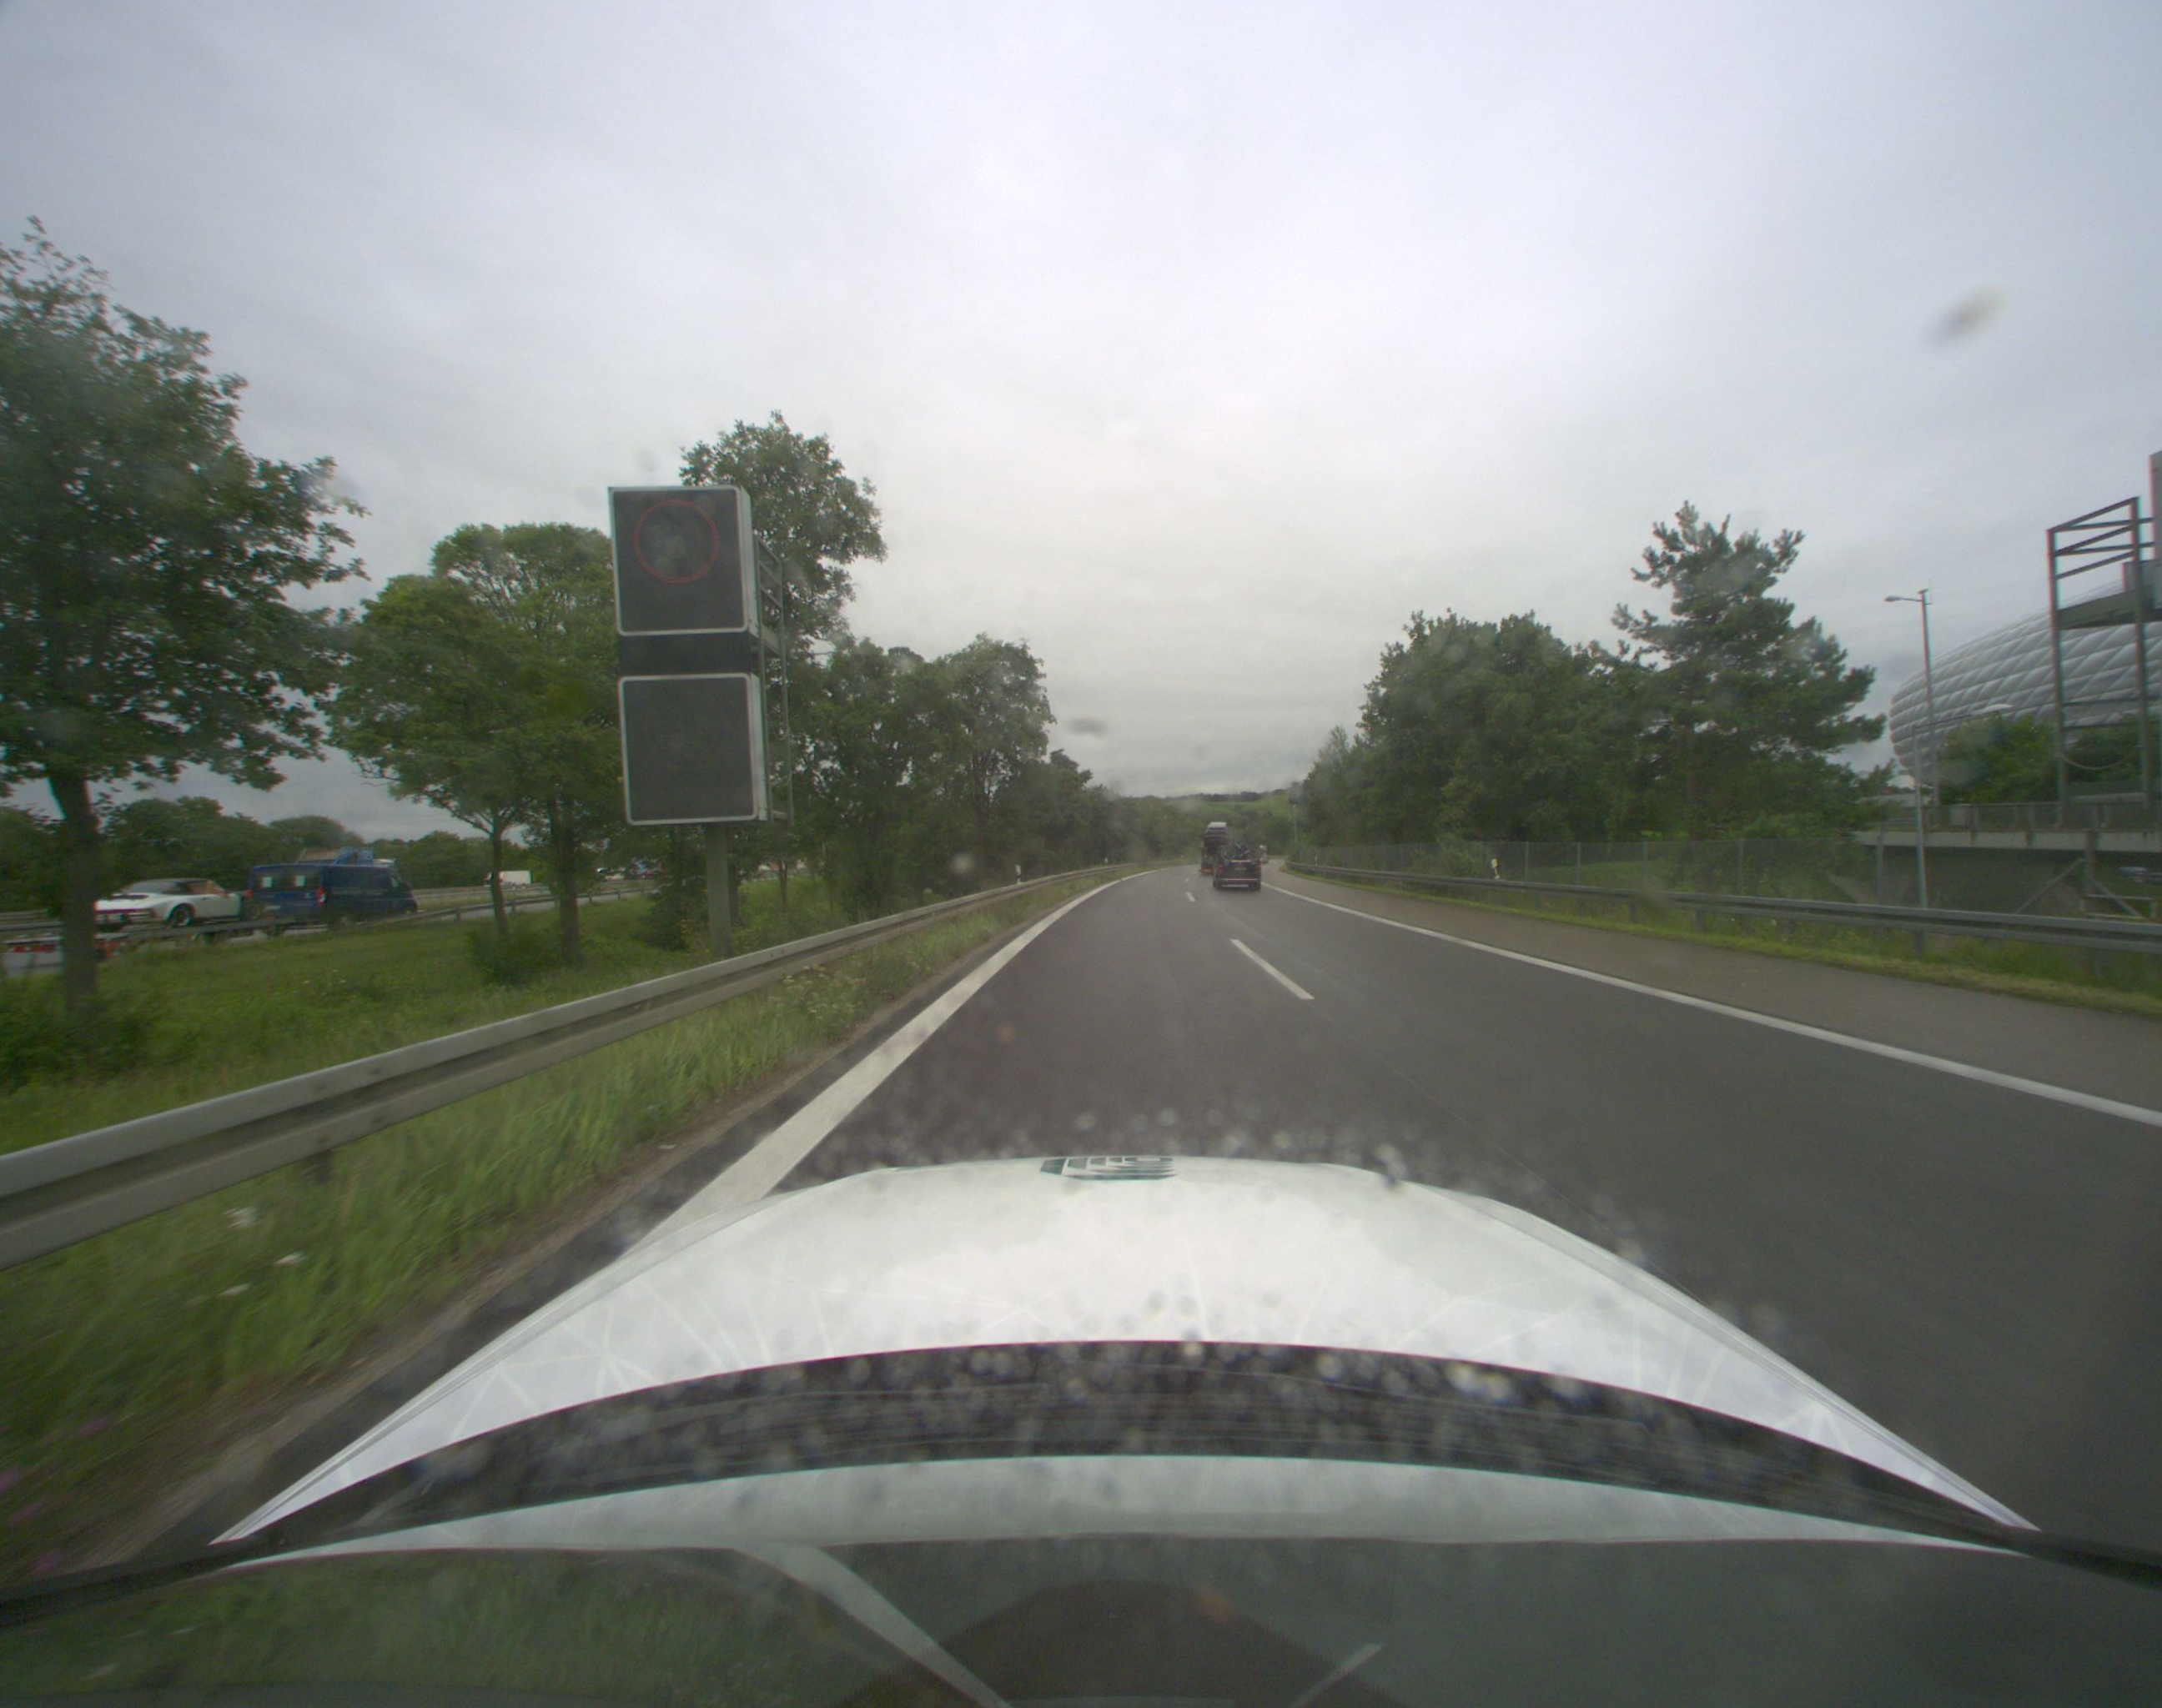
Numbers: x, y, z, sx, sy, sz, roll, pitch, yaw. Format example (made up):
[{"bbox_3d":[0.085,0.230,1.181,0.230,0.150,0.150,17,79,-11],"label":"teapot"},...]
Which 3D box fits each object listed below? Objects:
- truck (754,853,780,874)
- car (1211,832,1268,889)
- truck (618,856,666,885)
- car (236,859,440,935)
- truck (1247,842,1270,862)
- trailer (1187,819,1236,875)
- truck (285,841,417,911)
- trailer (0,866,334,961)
[{"bbox_3d":[-68.811,2.115,178.947,3.737,4.417,10.151,-1,0,-12],"label":"truck"},{"bbox_3d":[6.880,0.264,35.975,2.098,2.264,5.909,-1,0,8],"label":"car"},{"bbox_3d":[-54.623,2.050,101.528,2.860,3.365,8.593,-2,0,-12],"label":"truck"},{"bbox_3d":[-25.297,1.331,28.165,2.375,2.266,6.229,-2,0,-13],"label":"car"},{"bbox_3d":[24.907,-0.311,114.149,2.628,2.605,6.446,-2,0,16],"label":"truck"},{"bbox_3d":[10.349,-0.528,64.309,3.428,3.999,12.059,1,0,10],"label":"trailer"},{"bbox_3d":[-43.588,1.292,48.980,2.641,3.812,7.310,-1,-1,-13],"label":"truck"},{"bbox_3d":[-23.832,1.385,21.748,2.487,1.994,7.032,-2,0,-13],"label":"trailer"}]
